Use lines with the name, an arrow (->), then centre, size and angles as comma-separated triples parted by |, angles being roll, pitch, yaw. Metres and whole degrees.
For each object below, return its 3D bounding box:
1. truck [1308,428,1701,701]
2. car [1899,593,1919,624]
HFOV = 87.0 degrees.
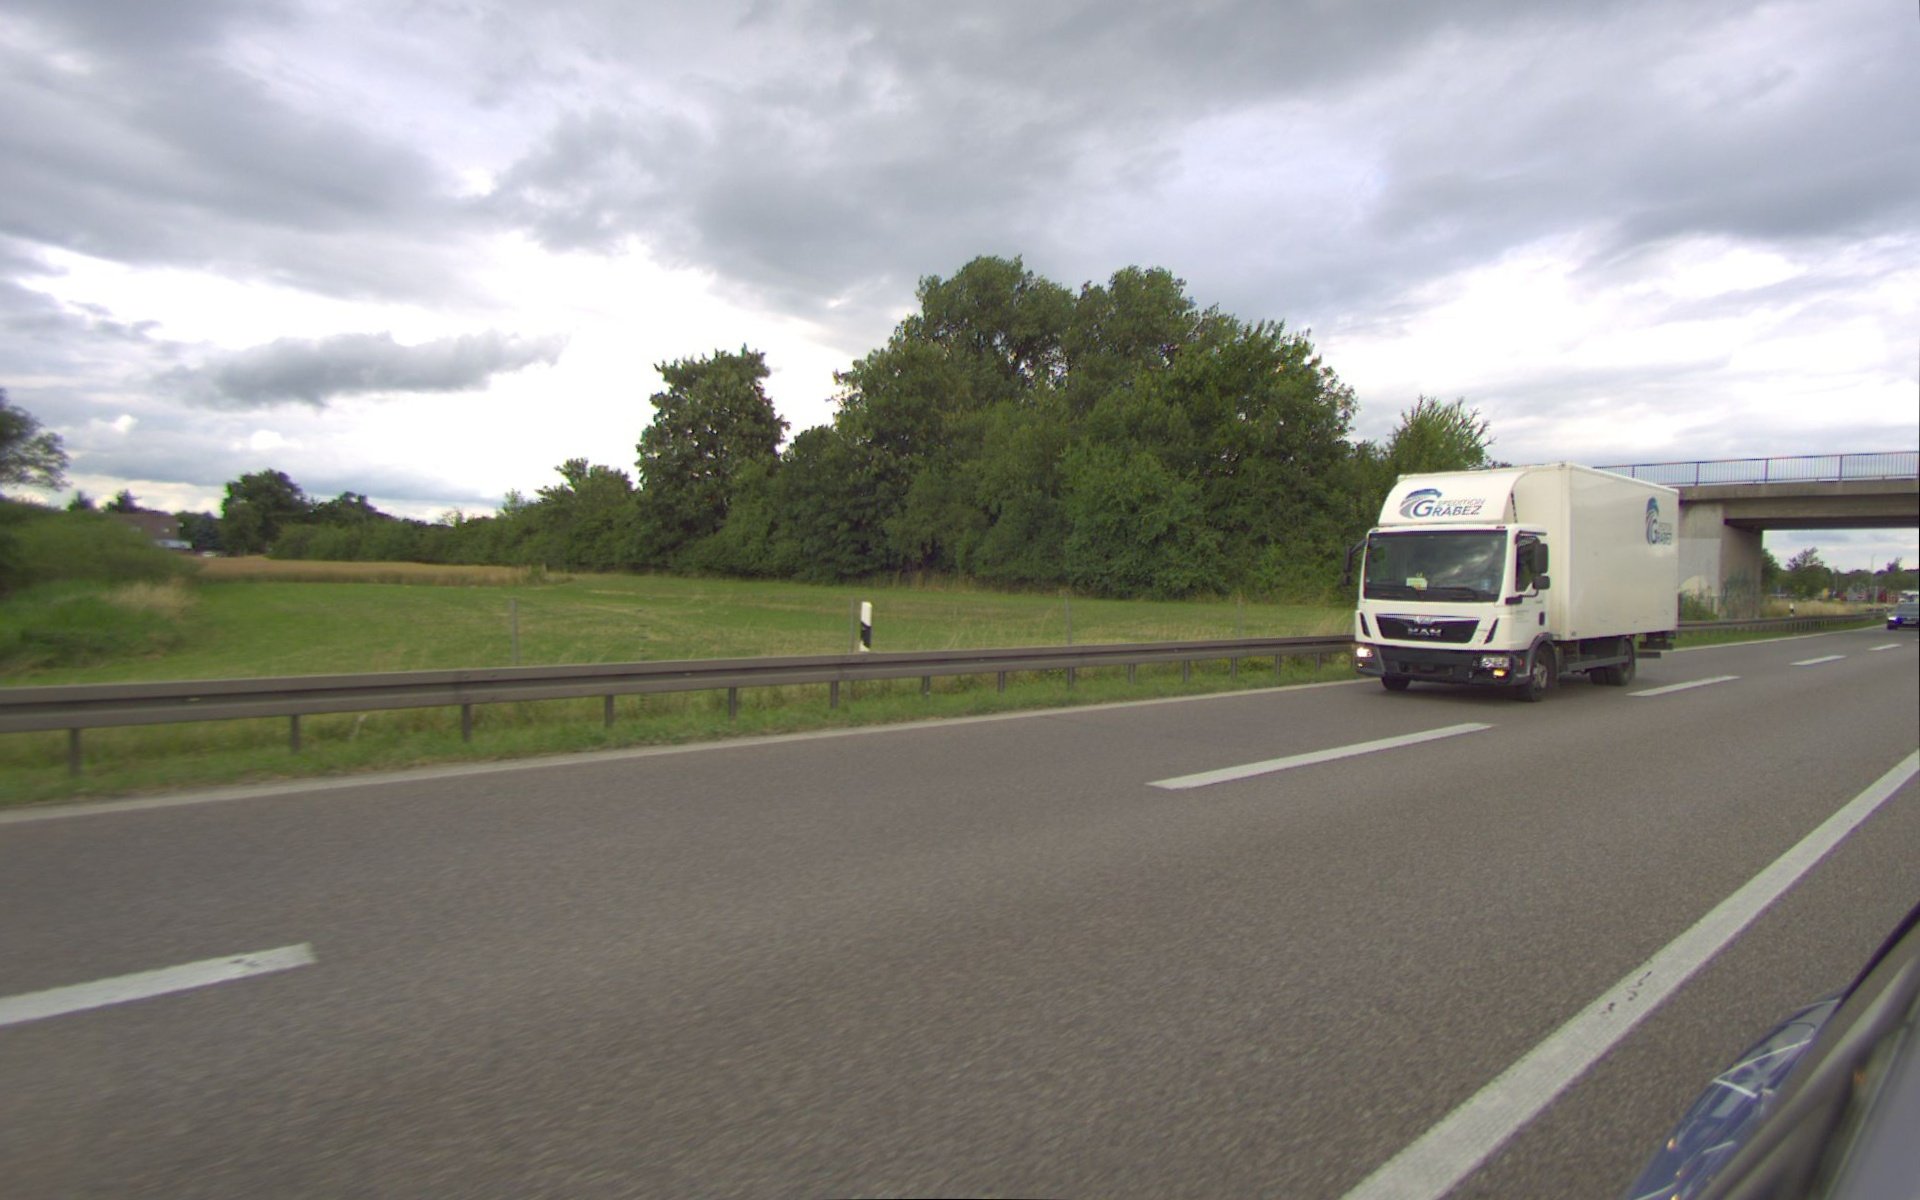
truck -> 9.566, -0.459, 17.142 | 8.738, 3.515, 3.108 | 0, 0, -42
car -> 51.225, 0.461, 53.693 | 1.919, 1.569, 4.844 | 3, 2, 45
